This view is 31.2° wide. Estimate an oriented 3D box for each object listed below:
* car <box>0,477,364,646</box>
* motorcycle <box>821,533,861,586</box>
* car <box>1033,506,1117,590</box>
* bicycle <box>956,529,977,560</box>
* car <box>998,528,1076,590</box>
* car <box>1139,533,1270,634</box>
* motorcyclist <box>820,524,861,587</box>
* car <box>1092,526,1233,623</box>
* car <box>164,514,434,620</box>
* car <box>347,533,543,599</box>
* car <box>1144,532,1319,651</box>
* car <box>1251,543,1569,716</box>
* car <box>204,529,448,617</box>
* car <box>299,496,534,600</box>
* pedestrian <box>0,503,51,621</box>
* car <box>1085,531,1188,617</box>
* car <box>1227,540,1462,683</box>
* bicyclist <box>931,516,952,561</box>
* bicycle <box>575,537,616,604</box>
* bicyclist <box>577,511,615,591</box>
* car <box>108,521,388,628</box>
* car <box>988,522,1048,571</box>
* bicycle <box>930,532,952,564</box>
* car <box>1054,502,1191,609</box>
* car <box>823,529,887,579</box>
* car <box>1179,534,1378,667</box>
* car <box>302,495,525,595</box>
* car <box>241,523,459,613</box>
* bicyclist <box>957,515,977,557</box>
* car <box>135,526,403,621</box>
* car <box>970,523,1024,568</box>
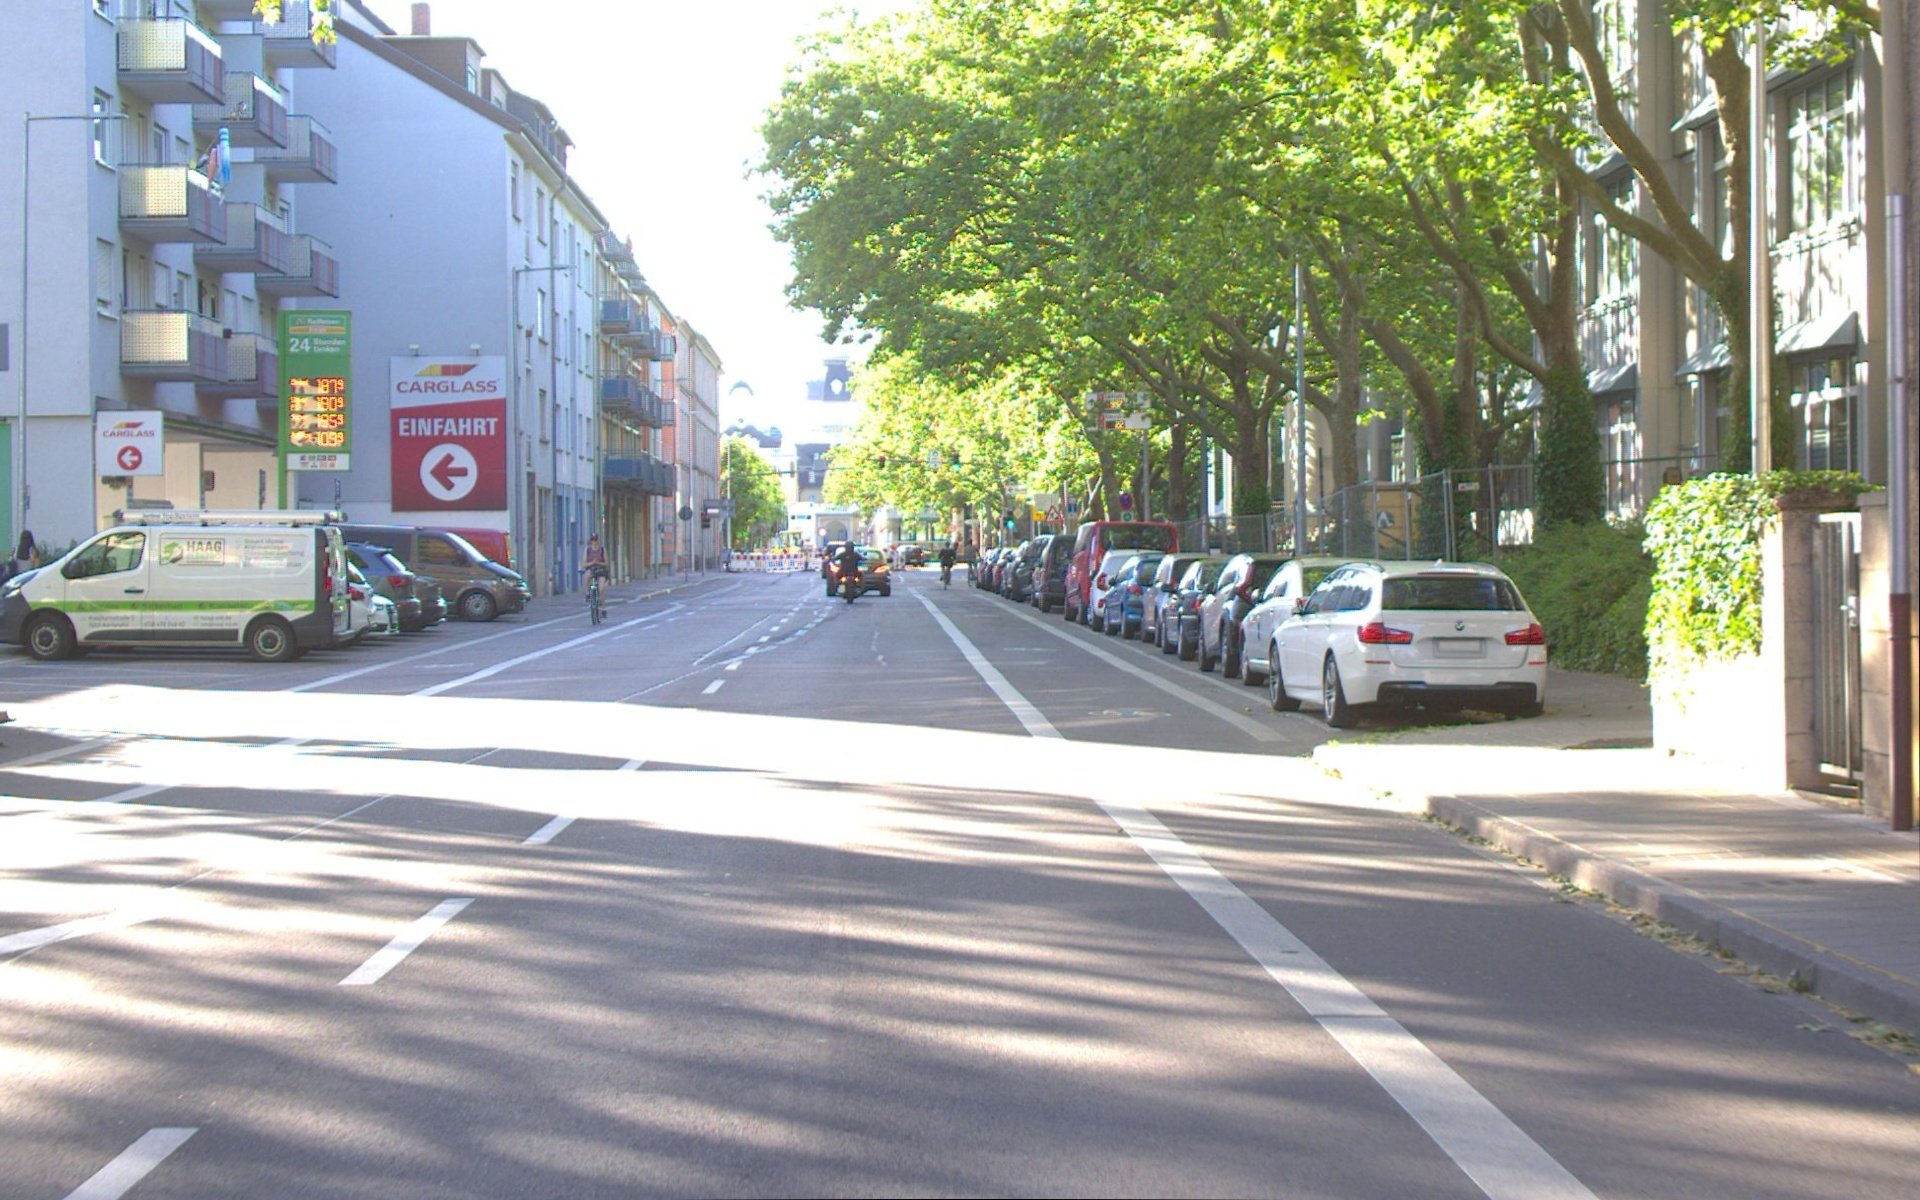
[{"bbox_3d":[-11.105,-0.553,48.949,4.844,2.209,2.140,2,1,-2],"label":"car"},{"bbox_3d":[-3.017,-1.033,86.994,1.012,1.302,2.673,0,1,-2],"label":"motorcycle"},{"bbox_3d":[2.627,-1.201,79.193,1.693,1.806,4.130,2,1,0],"label":"car"},{"bbox_3d":[0.249,-2.015,125.904,0.656,1.107,2.186,1,0,-2],"label":"bicycle"},{"bbox_3d":[2.135,-1.158,96.093,1.775,1.622,4.621,2,1,-3],"label":"car"},{"bbox_3d":[3.836,-0.283,54.406,1.613,1.470,3.493,2,1,-2],"label":"car"},{"bbox_3d":[-3.028,-1.132,87.147,1.012,1.596,1.406,0,1,-2],"label":"motorcyclist"},{"bbox_3d":[3.426,-0.459,58.832,1.855,1.505,3.930,2,1,-4],"label":"car"},{"bbox_3d":[-11.169,-0.559,58.286,4.194,1.678,2.028,1,1,-2],"label":"car"},{"bbox_3d":[-11.893,-0.784,79.587,4.228,1.375,2.046,2,0,-1],"label":"car"},{"bbox_3d":[3.764,-0.162,48.368,1.855,1.517,4.600,2,1,-2],"label":"car"},{"bbox_3d":[4.008,0.213,31.487,1.855,1.431,4.971,1,1,-5],"label":"car"},{"bbox_3d":[-11.186,-0.497,60.855,3.986,1.451,1.916,1,1,-2],"label":"car"},{"bbox_3d":[-11.254,-1.090,71.374,4.522,1.945,2.057,2,1,-1],"label":"car"},{"bbox_3d":[-14.256,-0.582,52.389,0.631,1.783,0.722,0,1,-2],"label":"pedestrian"},{"bbox_3d":[3.214,-0.499,63.151,1.637,1.480,3.760,2,1,0],"label":"car"},{"bbox_3d":[4.132,0.079,37.635,1.855,1.431,4.603,1,1,-2],"label":"car"},{"bbox_3d":[-0.649,-2.112,118.117,0.656,1.525,0.852,1,0,-2],"label":"bicyclist"},{"bbox_3d":[-7.141,-0.588,67.405,0.607,1.235,2.050,-2,2,-2],"label":"bicycle"},{"bbox_3d":[-7.168,-0.976,67.726,0.607,1.539,0.934,-2,2,-2],"label":"bicyclist"},{"bbox_3d":[-11.055,-0.409,53.564,3.986,1.554,1.853,1,1,-2],"label":"car"},{"bbox_3d":[1.847,-1.731,110.651,1.693,1.474,4.319,2,1,-2],"label":"car"},{"bbox_3d":[-0.656,-1.771,118.159,0.656,1.066,1.927,1,0,-2],"label":"bicycle"},{"bbox_3d":[3.171,-0.897,68.057,2.078,1.987,5.172,2,1,-4],"label":"car"},{"bbox_3d":[-3.096,-1.358,100.712,1.828,1.415,3.815,0,1,-2],"label":"car"},{"bbox_3d":[3.880,-0.036,42.508,1.855,1.517,4.298,1,1,-2],"label":"car"},{"bbox_3d":[-11.763,-1.185,74.205,4.421,1.945,2.146,2,1,-1],"label":"car"},{"bbox_3d":[-11.203,-0.601,63.334,3.685,1.508,1.831,2,1,-2],"label":"car"},{"bbox_3d":[0.256,-2.340,125.850,0.656,1.525,0.906,1,0,-2],"label":"bicyclist"},{"bbox_3d":[-11.157,-0.441,55.689,3.986,1.428,1.853,1,1,-2],"label":"car"},{"bbox_3d":[1.225,-1.850,116.297,1.693,1.461,4.066,2,1,-1],"label":"car"}]
